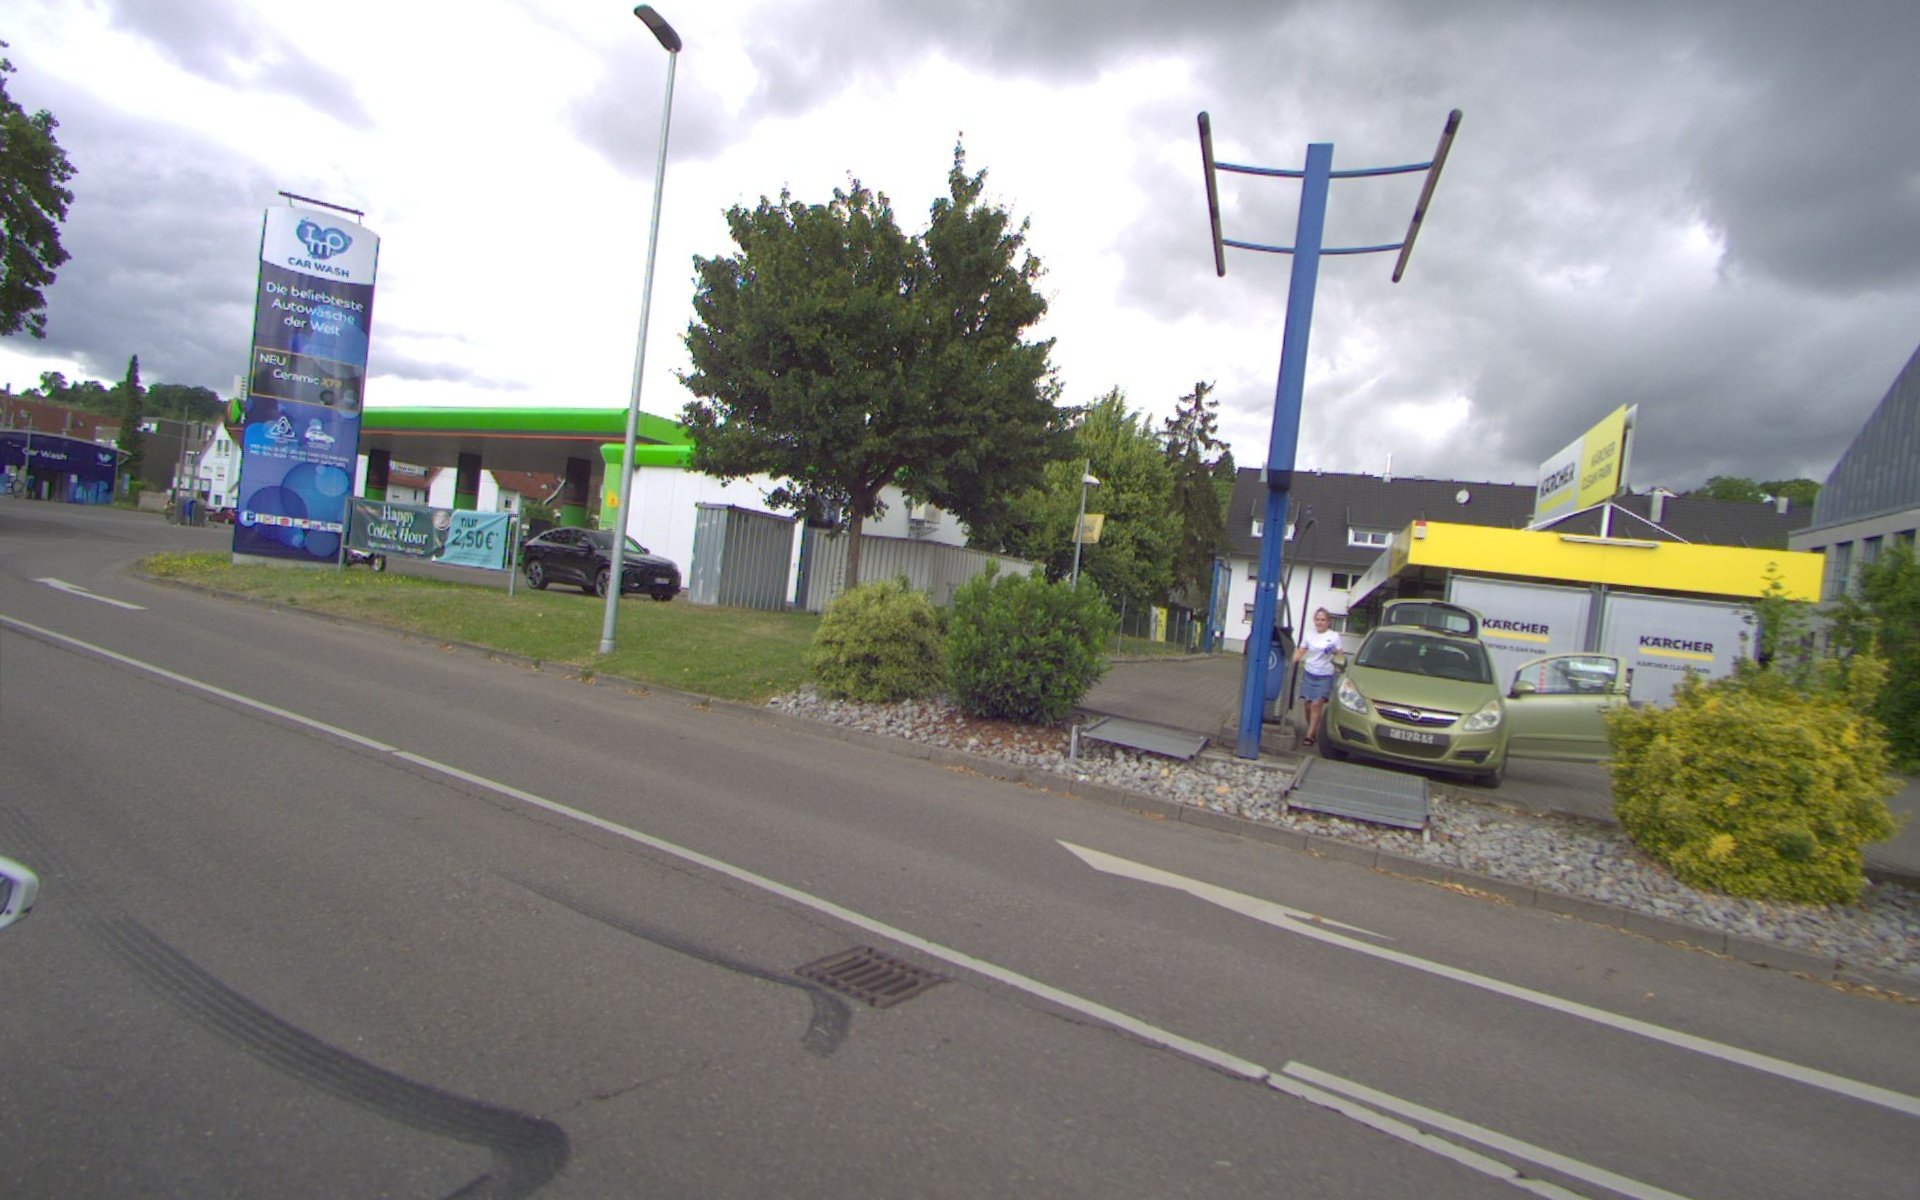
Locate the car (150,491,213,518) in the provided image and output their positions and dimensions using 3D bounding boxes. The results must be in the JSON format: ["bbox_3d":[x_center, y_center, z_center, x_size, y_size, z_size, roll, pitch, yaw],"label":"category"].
[{"bbox_3d":[-73.961,-9.054,95.617,1.747,1.703,4.226,7,-2,29],"label":"car"}]

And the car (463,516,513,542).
[{"bbox_3d":[-38.371,-5.786,81.705,3.934,1.705,1.691,7,1,32],"label":"car"}]

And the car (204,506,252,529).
[{"bbox_3d":[-61.974,-6.991,85.154,3.354,1.410,1.587,7,-1,20],"label":"car"}]

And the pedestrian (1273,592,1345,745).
[{"bbox_3d":[4.113,0.789,11.834,0.575,1.692,0.633,7,1,22],"label":"pedestrian"}]

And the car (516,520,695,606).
[{"bbox_3d":[-8.787,-0.926,24.846,4.266,1.697,1.821,6,2,32],"label":"car"}]

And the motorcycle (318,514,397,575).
[{"bbox_3d":[-15.456,-1.424,25.792,1.957,1.348,0.856,7,1,32],"label":"motorcycle"}]

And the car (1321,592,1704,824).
[{"bbox_3d":[5.670,1.007,10.994,2.892,1.676,4.027,7,0,23],"label":"car"}]

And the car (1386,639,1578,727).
[{"bbox_3d":[12.933,2.019,25.207,3.857,1.593,1.838,7,1,19],"label":"car"}]

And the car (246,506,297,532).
[{"bbox_3d":[-57.144,-6.712,83.495,3.667,1.618,1.539,7,-1,20],"label":"car"}]
